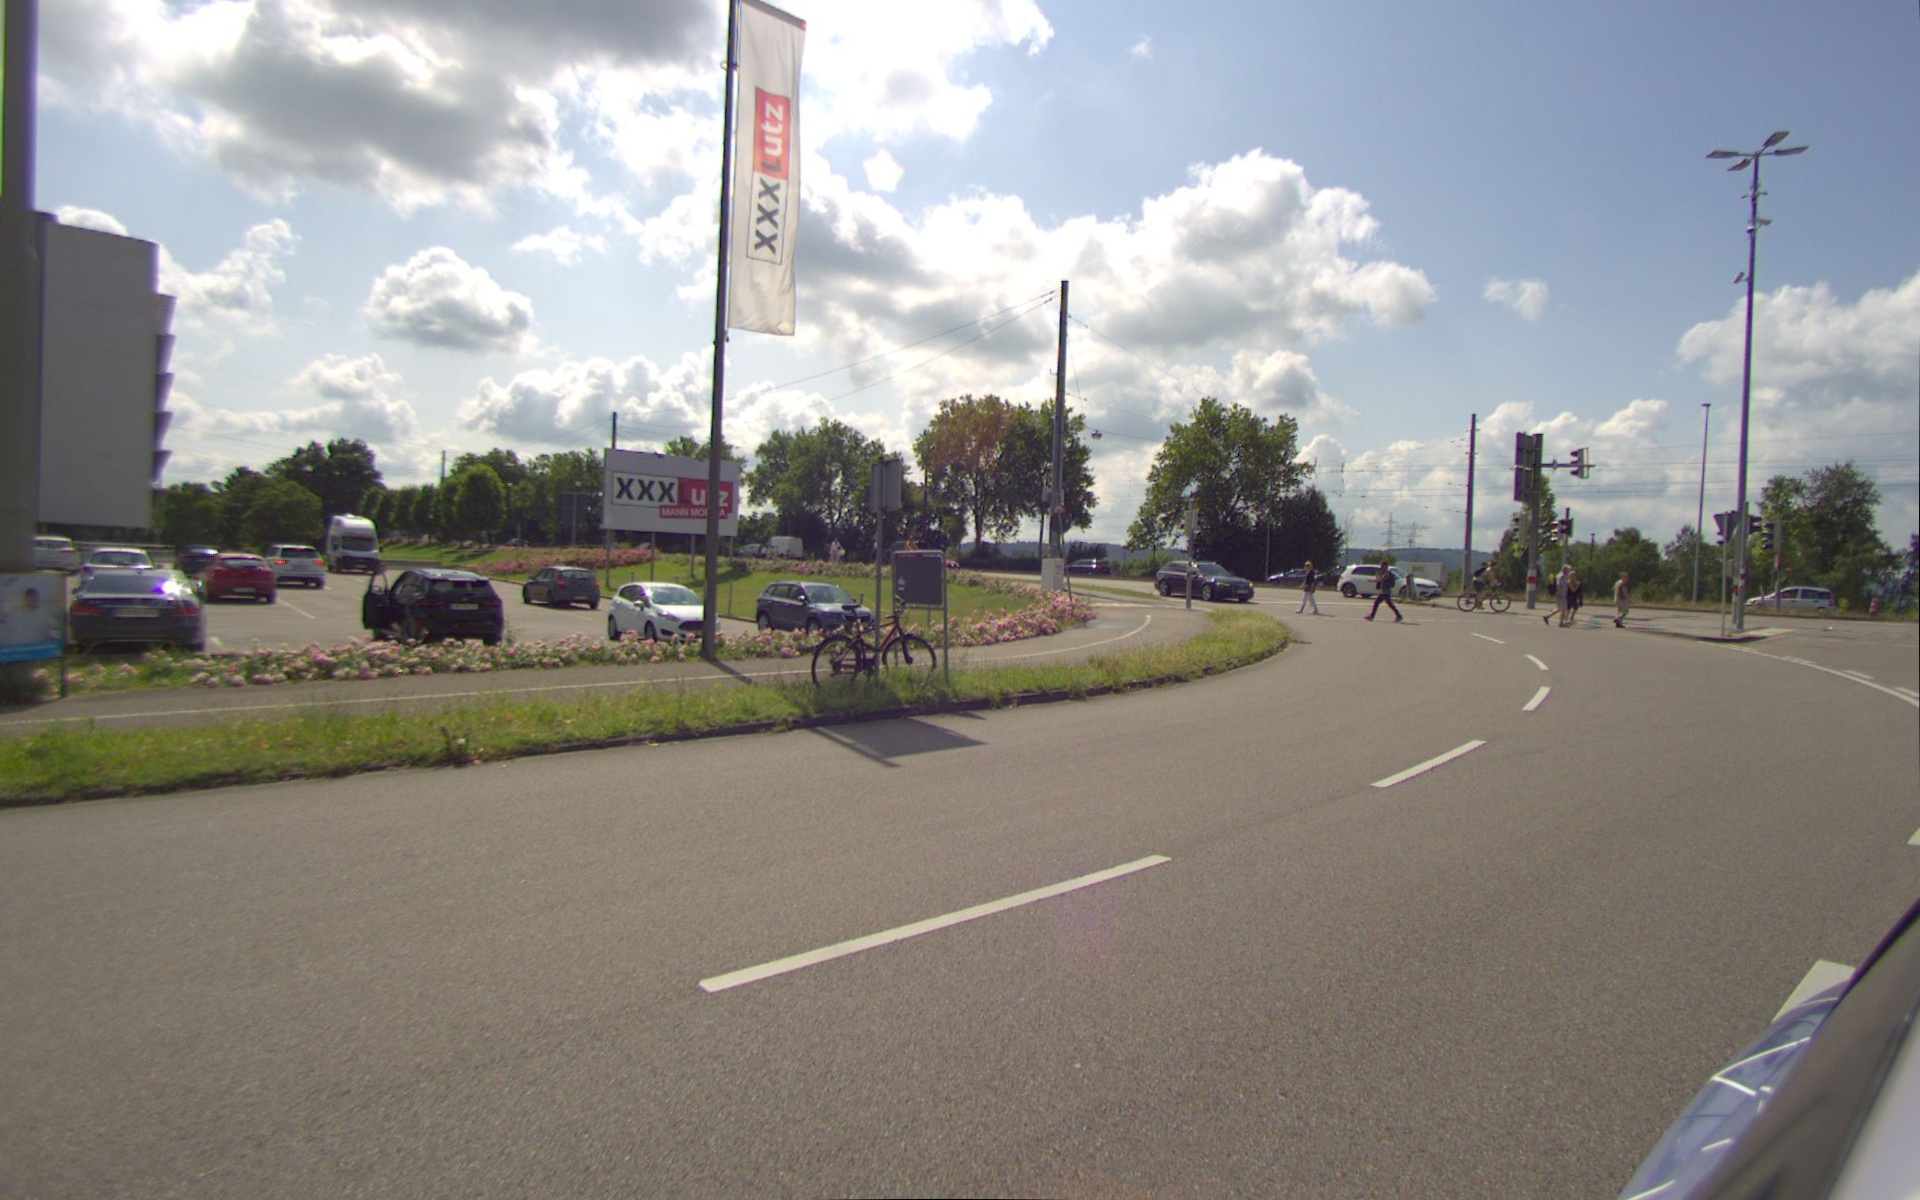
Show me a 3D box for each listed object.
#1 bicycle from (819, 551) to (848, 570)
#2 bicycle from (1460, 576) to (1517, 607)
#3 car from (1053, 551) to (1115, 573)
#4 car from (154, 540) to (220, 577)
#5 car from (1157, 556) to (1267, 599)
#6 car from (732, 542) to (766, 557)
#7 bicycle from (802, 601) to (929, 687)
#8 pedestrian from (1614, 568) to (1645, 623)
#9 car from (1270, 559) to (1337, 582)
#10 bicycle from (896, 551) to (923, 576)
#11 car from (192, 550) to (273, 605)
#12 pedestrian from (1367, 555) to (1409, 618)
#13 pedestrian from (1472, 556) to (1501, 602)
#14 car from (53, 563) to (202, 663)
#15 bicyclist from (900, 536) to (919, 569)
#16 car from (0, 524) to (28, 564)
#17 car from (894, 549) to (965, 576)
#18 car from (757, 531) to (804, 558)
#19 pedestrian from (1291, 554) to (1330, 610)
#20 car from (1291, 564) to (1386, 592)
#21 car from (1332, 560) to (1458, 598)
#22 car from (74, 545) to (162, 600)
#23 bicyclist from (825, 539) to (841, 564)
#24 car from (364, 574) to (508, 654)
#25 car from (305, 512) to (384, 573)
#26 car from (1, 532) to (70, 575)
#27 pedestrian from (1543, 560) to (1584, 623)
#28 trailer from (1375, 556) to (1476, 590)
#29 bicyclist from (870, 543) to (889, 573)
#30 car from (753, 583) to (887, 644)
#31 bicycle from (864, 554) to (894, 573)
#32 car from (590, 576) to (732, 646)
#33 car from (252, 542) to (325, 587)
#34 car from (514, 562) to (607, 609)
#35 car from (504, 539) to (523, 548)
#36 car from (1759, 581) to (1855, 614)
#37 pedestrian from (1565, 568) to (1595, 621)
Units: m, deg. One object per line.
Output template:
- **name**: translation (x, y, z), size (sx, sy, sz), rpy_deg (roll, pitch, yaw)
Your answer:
- **bicycle**: translation (-6.976, -2.169, 55.824), size (0.586, 0.973, 1.986), rpy_deg (2, 1, -39)
- **bicycle**: translation (18.318, -0.299, 35.091), size (1.663, 1.059, 0.508), rpy_deg (0, 4, 0)
- **car**: translation (10.089, -3.079, 82.560), size (4.764, 1.527, 1.937), rpy_deg (4, 1, 41)
- **car**: translation (-33.008, -1.739, 43.158), size (1.887, 1.459, 3.992), rpy_deg (1, 1, -42)
- **car**: translation (9.753, -0.908, 39.513), size (1.877, 1.501, 4.211), rpy_deg (0, 3, -26)
- **car**: translation (-25.093, -6.026, 120.390), size (3.983, 1.638, 1.971), rpy_deg (2, 1, 41)
- **bicycle**: translation (-1.126, 0.504, 12.299), size (1.517, 0.964, 0.518), rpy_deg (0, 1, -41)
- **pedestrian**: translation (19.160, -0.133, 28.950), size (0.460, 1.543, 0.557), rpy_deg (2, 0, -31)
- **car**: translation (23.616, -2.019, 69.653), size (4.059, 1.465, 1.702), rpy_deg (4, 3, 45)
- **bicycle**: translation (-2.478, -1.804, 49.570), size (0.609, 1.180, 1.505), rpy_deg (2, 0, -35)
- **car**: translation (-22.672, -0.737, 31.465), size (1.813, 1.445, 4.372), rpy_deg (2, 2, -38)
- **pedestrian**: translation (12.586, -0.395, 29.801), size (0.744, 1.824, 0.824), rpy_deg (1, 1, -13)
- **pedestrian**: translation (18.251, -0.747, 35.068), size (0.672, 1.554, 0.507), rpy_deg (1, 4, 0)
- **car**: translation (-14.565, 0.131, 17.843), size (1.823, 1.495, 4.370), rpy_deg (0, 2, -38)
- **bicyclist**: translation (-2.480, -2.324, 49.606), size (0.609, 1.555, 0.697), rpy_deg (2, 0, -36)
- **car**: translation (-44.475, -2.591, 46.550), size (1.963, 1.760, 3.998), rpy_deg (2, 1, -38)
- **car**: translation (-1.762, -2.101, 56.476), size (1.718, 1.377, 4.247), rpy_deg (0, 4, -39)
- **car**: translation (-19.361, -6.015, 109.031), size (5.576, 2.522, 1.928), rpy_deg (6, 2, 44)
- **pedestrian**: translation (11.379, -0.582, 32.876), size (0.848, 1.787, 0.865), rpy_deg (1, 1, -13)
- **car**: translation (23.930, -1.424, 64.107), size (5.232, 1.594, 1.970), rpy_deg (2, 1, 42)
- **car**: translation (18.423, -0.904, 43.017), size (1.980, 1.430, 4.489), rpy_deg (0, 3, -43)
- **car**: translation (-24.570, -0.835, 29.656), size (1.813, 1.379, 4.372), rpy_deg (1, 3, -38)
- **bicyclist**: translation (-7.006, -2.682, 55.889), size (0.582, 1.342, 0.687), rpy_deg (2, 0, -40)
- **car**: translation (-11.133, 0.216, 21.351), size (1.823, 1.434, 4.369), rpy_deg (0, 2, -39)
- **car**: translation (-35.071, -3.258, 57.523), size (3.064, 3.193, 7.904), rpy_deg (0, 3, -37)
- **car**: translation (-36.300, -1.809, 39.828), size (1.886, 1.549, 3.994), rpy_deg (2, 1, -41)
- **pedestrian**: translation (17.223, -0.260, 28.899), size (0.686, 1.749, 0.690), rpy_deg (0, 3, -29)
- **trailer**: translation (27.799, -1.640, 60.557), size (5.163, 1.853, 1.798), rpy_deg (3, 2, 42)
- **bicyclist**: translation (-4.141, -2.143, 51.923), size (0.639, 1.494, 0.742), rpy_deg (2, 0, -39)
- **car**: translation (-3.896, 0.319, 27.718), size (1.686, 1.435, 3.994), rpy_deg (0, 2, -41)
- **bicycle**: translation (-4.185, -1.872, 51.954), size (0.654, 0.973, 1.694), rpy_deg (2, 1, -39)
- **car**: translation (-7.366, 0.211, 24.673), size (1.764, 1.457, 4.369), rpy_deg (0, 2, -39)
- **car**: translation (-26.924, -1.444, 40.535), size (1.821, 1.607, 4.233), rpy_deg (2, 3, -42)
- **car**: translation (-14.868, -0.557, 37.537), size (2.011, 1.426, 4.372), rpy_deg (2, 3, -38)
- **car**: translation (-76.316, -9.591, 172.988), size (1.902, 1.382, 3.736), rpy_deg (2, 1, -42)
- **car**: translation (40.923, -0.106, 48.959), size (3.477, 1.474, 1.676), rpy_deg (-1, 1, 42)
- **pedestrian**: translation (18.247, -0.174, 29.785), size (0.460, 1.543, 0.586), rpy_deg (0, 1, -31)
